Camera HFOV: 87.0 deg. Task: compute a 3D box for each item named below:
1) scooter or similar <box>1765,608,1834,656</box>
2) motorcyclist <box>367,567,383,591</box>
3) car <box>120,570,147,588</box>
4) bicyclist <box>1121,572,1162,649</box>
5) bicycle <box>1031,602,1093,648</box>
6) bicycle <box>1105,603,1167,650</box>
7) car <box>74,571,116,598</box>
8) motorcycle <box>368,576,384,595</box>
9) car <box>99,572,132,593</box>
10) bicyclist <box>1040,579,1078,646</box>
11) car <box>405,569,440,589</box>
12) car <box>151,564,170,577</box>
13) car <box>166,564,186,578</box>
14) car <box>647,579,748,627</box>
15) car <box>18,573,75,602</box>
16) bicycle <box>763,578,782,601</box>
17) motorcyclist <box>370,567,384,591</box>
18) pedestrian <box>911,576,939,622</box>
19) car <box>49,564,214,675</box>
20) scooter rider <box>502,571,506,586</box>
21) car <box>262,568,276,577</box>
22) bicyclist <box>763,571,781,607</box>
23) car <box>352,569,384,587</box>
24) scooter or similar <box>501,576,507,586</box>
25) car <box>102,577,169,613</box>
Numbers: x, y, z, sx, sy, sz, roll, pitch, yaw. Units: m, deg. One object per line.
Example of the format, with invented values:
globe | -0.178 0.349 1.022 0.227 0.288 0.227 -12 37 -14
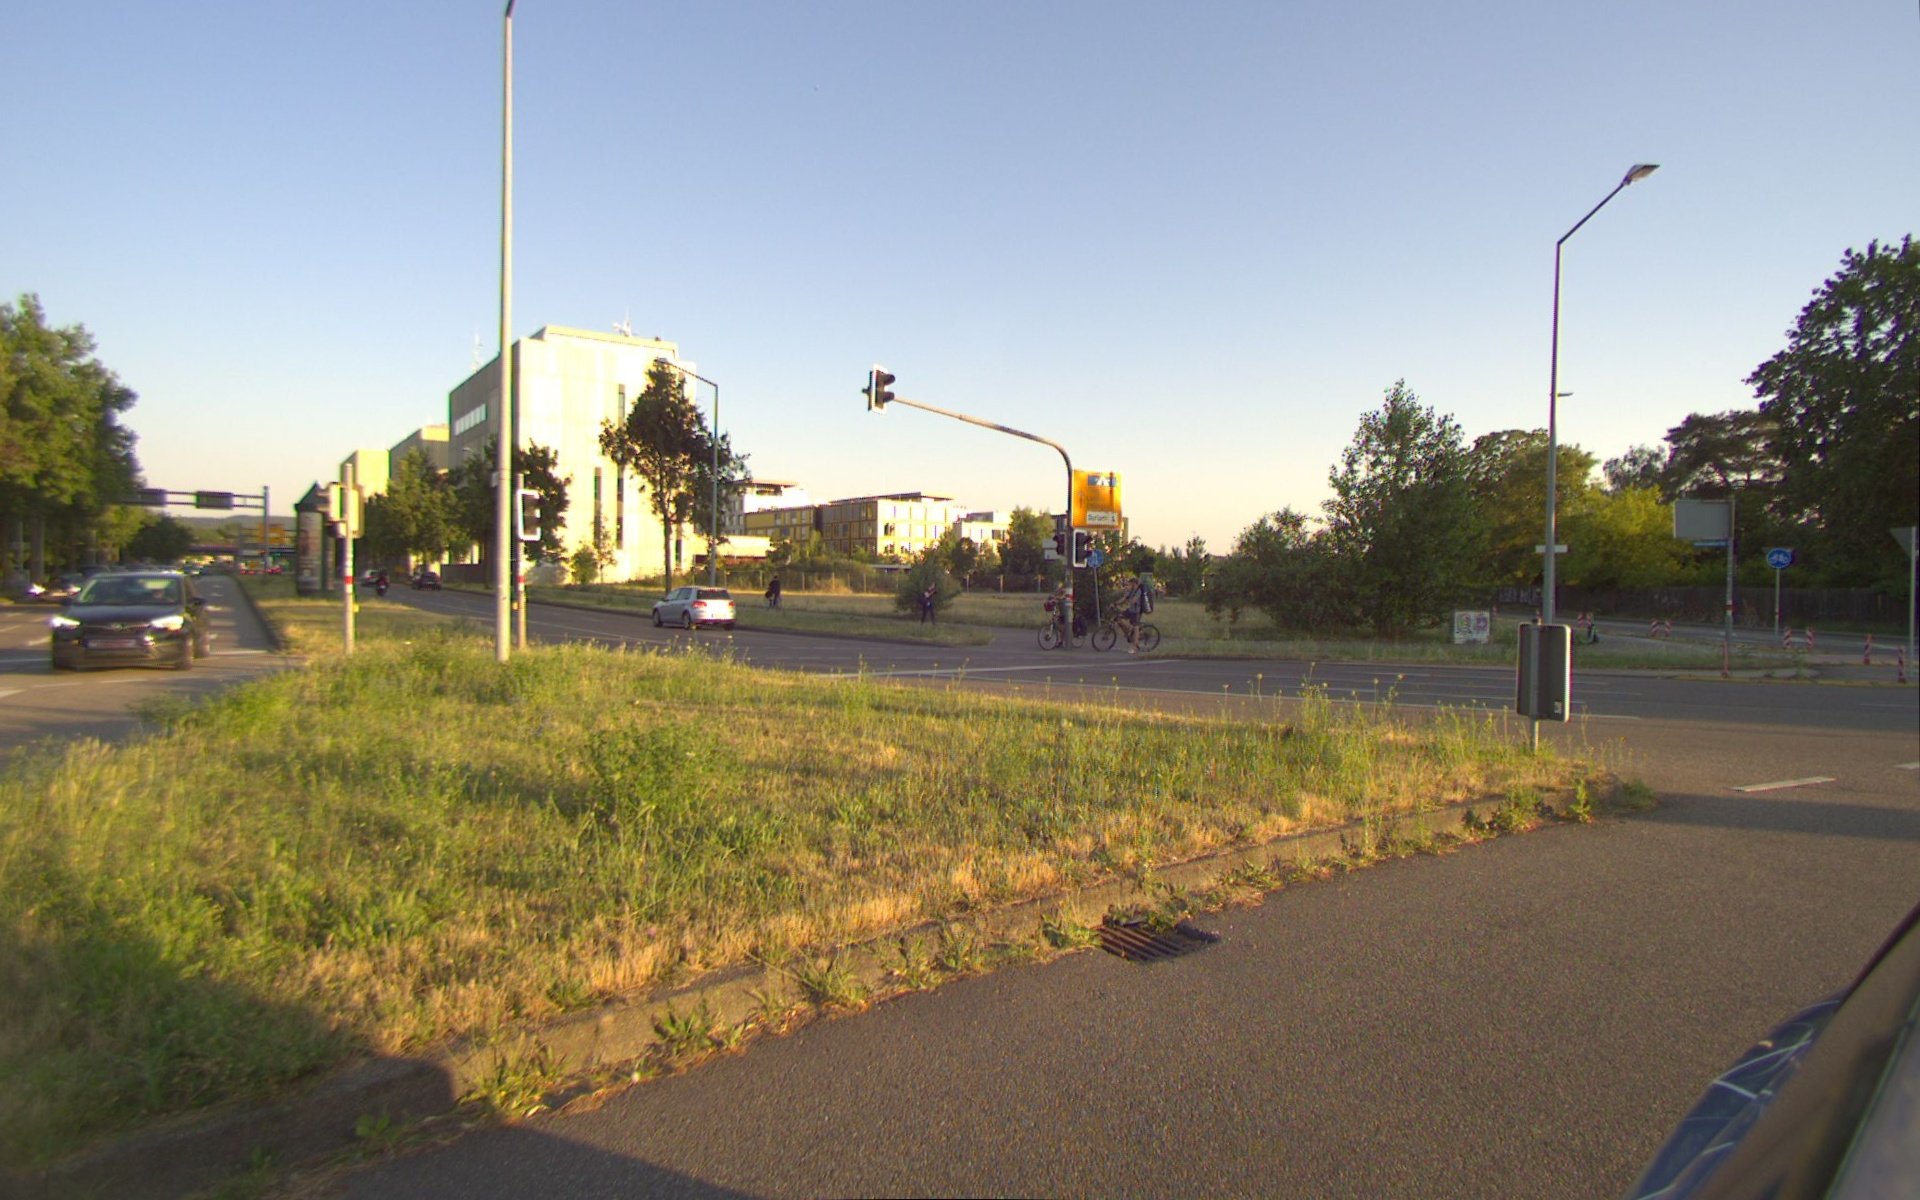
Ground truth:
scooter or similar | 21.217 0.804 25.580 1.356 1.177 0.442 1 1 -2
motorcyclist | -35.139 -1.237 60.784 0.676 1.434 0.714 0 1 -39
car | -71.862 -1.823 87.995 1.589 1.537 3.716 -1 2 -36
bicyclist | 4.689 0.247 26.167 0.894 1.921 0.640 -2 2 -40
bicycle | 2.761 0.648 27.204 1.894 1.098 0.456 -3 3 -40
bicycle | 4.574 0.664 26.220 1.894 1.098 0.456 -2 2 -40
car | -51.106 -0.911 59.842 1.589 1.537 3.716 -1 2 -36
motorcycle | -34.892 -0.883 60.460 0.548 1.114 2.158 0 1 -39
car | -61.439 -1.295 73.662 1.589 1.537 3.716 -1 2 -36
bicyclist | 2.665 0.318 27.240 0.757 1.722 0.640 -3 3 -40
car | -42.576 -1.661 80.135 1.770 1.482 3.998 1 1 -37
car | -92.722 -3.422 117.421 1.589 1.471 3.716 -1 2 -36
car | -83.382 -3.120 107.685 1.589 1.471 3.716 -1 2 -36
car | -9.143 0.064 35.116 1.859 1.499 4.047 0 1 -39
car | -42.926 -0.614 47.601 1.589 1.325 3.716 -1 2 -36
bicycle | -9.089 -0.514 49.054 0.275 1.102 1.372 1 1 -37
motorcyclist | -34.733 -1.226 60.268 0.625 1.426 0.594 0 1 -39
pedestrian | -1.227 -0.037 35.608 0.782 1.569 0.567 0 1 -37
car | -13.896 0.244 17.196 1.689 1.633 4.138 -1 1 -33
scooter rider | -43.175 -2.048 95.834 0.260 1.356 0.406 1 1 -37
car | -119.193 -4.767 174.527 1.785 1.544 4.133 1 1 -38
bicyclist | -9.117 -0.539 49.088 0.527 1.765 0.843 1 1 -38
car | -49.244 -1.838 84.186 1.770 1.440 4.447 1 1 -37
scooter or similar | -43.183 -1.767 95.871 0.242 0.925 1.039 1 1 -37
car | -32.717 -0.221 40.236 1.841 1.325 4.137 -1 2 -36
